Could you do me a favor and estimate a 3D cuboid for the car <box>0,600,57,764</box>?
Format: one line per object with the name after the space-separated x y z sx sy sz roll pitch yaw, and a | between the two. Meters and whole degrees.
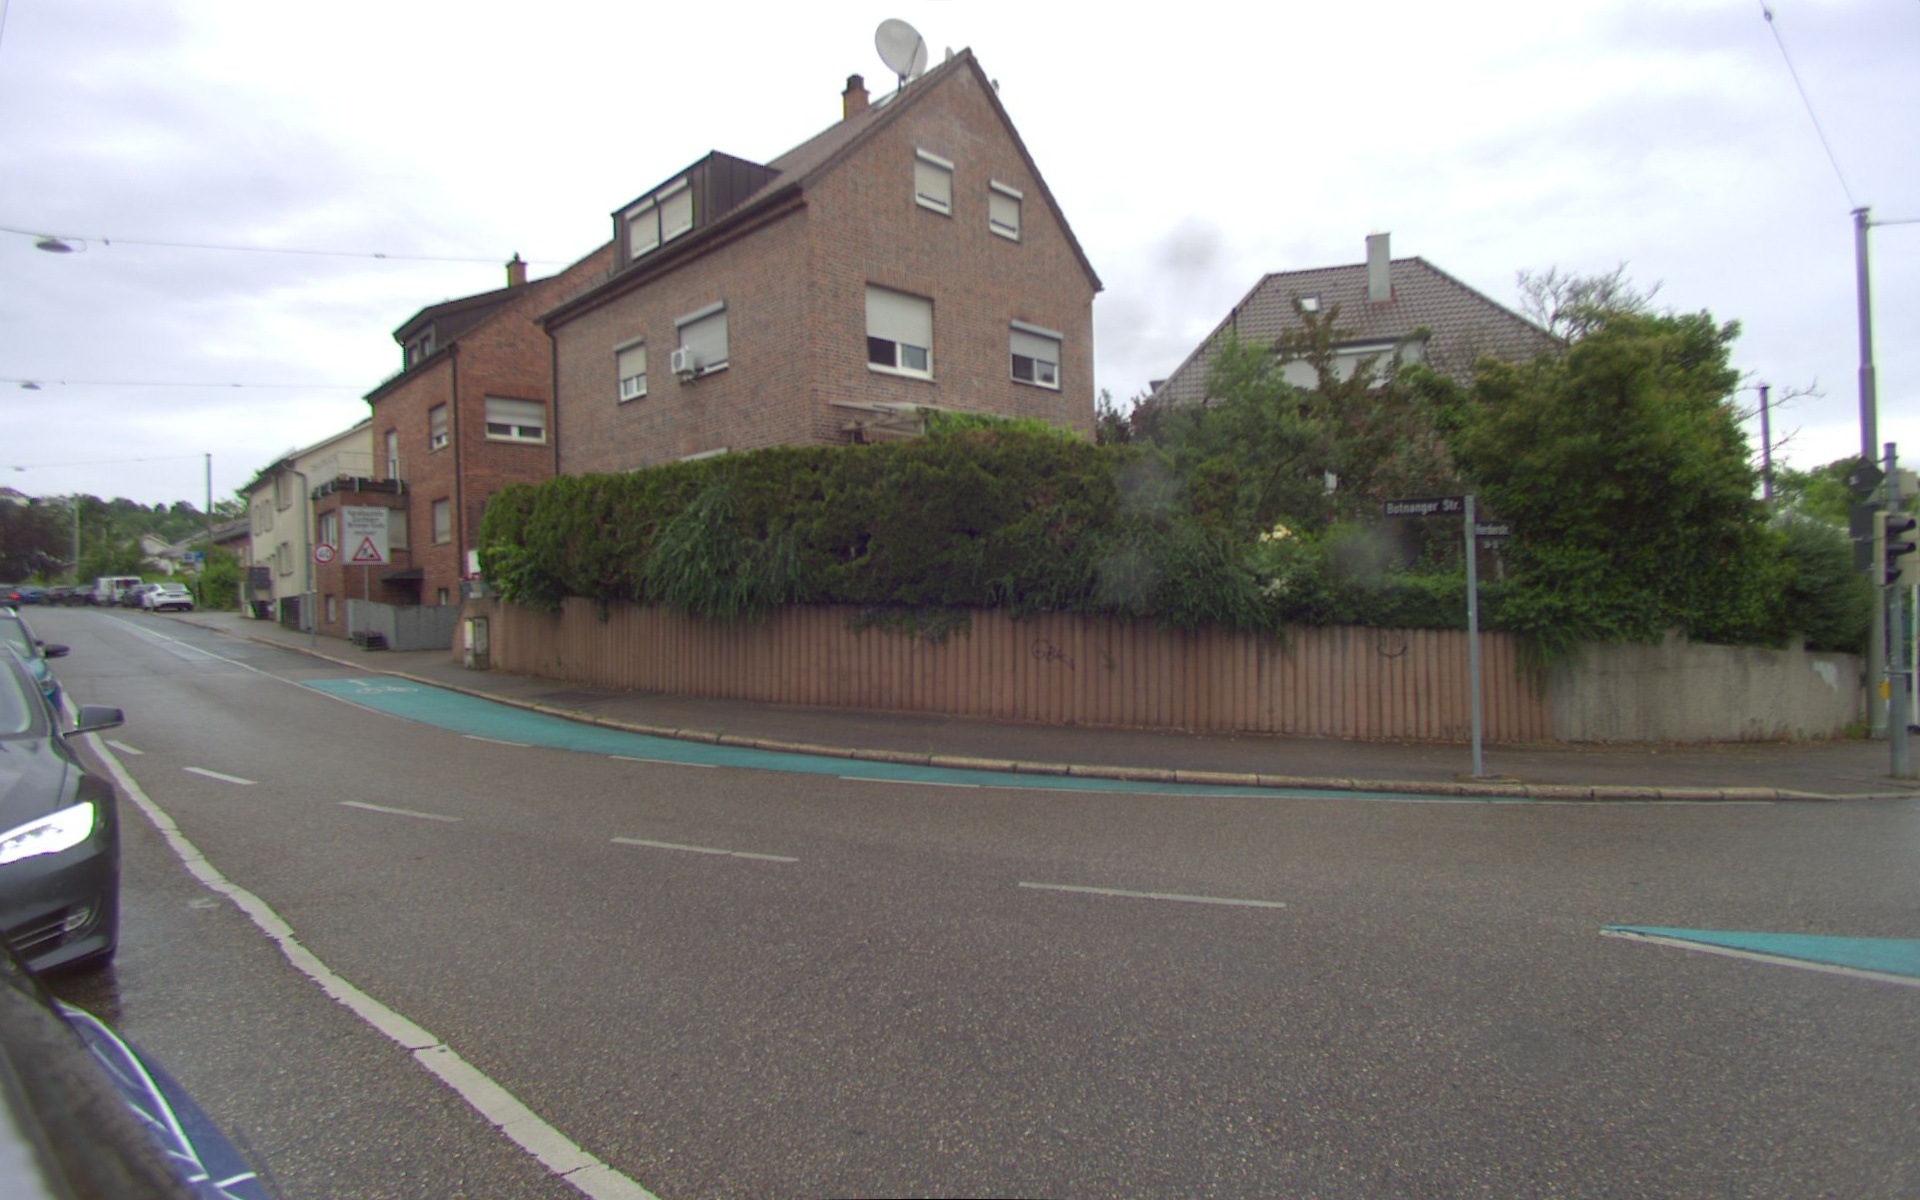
-11.056 0.806 10.902 3.785 1.601 1.765 0 0 45 | car

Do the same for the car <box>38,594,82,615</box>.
-66.485 0.341 74.788 3.854 1.407 1.634 -1 2 36 | car

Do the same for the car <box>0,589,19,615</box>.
-65.225 0.093 68.292 4.166 1.693 1.831 1 -1 38 | car

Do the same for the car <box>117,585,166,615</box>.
-52.370 -0.018 64.736 4.262 1.817 1.791 0 2 42 | car

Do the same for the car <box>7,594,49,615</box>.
-71.242 0.342 77.334 3.895 1.501 1.605 -1 2 36 | car

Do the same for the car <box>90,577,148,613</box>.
-57.017 -0.329 68.594 4.544 2.303 2.229 0 2 41 | car

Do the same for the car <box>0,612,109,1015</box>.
-5.337 0.796 4.647 4.002 1.426 1.845 0 0 45 | car

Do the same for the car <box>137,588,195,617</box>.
-46.422 0.154 59.143 4.262 1.577 1.921 0 2 42 | car

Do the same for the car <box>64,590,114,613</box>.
-61.545 0.102 71.499 4.002 1.501 1.636 -1 2 34 | car
